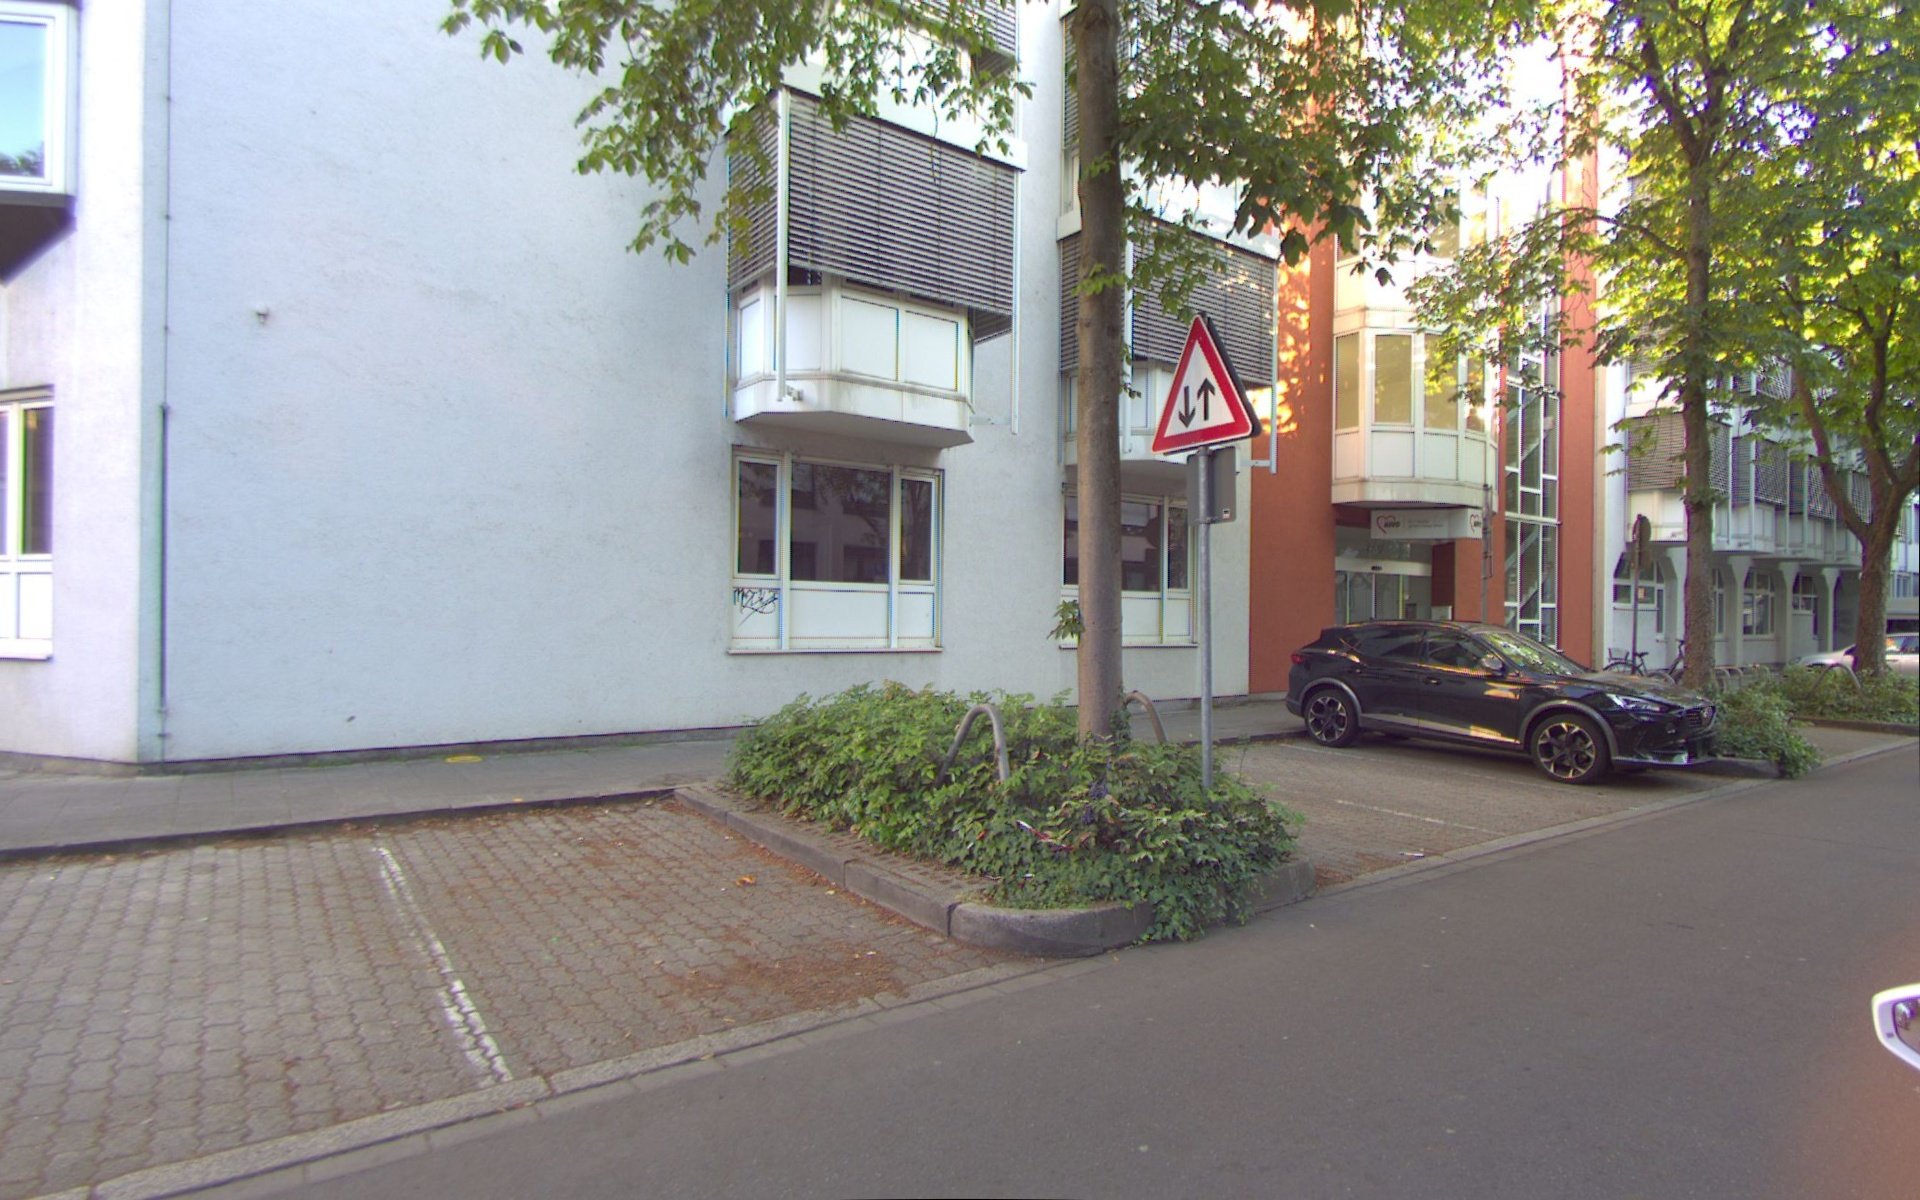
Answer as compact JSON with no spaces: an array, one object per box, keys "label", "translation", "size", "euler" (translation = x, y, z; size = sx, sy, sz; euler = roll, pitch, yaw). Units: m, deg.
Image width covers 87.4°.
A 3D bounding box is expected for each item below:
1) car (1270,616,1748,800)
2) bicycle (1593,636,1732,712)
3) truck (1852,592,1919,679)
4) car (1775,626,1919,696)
[{"label":"car","translation":[5.848,1.004,11.232],"size":[1.817,1.529,4.326],"euler":[1,0,-36]},{"label":"bicycle","translation":[12.271,1.261,17.592],"size":[1.949,1.215,0.499],"euler":[0,-1,44]},{"label":"truck","translation":[28.960,1.037,28.618],"size":[1.896,2.474,4.967],"euler":[0,1,-34]},{"label":"car","translation":[22.201,1.440,23.884],"size":[1.624,1.491,4.103],"euler":[1,0,-36]}]
